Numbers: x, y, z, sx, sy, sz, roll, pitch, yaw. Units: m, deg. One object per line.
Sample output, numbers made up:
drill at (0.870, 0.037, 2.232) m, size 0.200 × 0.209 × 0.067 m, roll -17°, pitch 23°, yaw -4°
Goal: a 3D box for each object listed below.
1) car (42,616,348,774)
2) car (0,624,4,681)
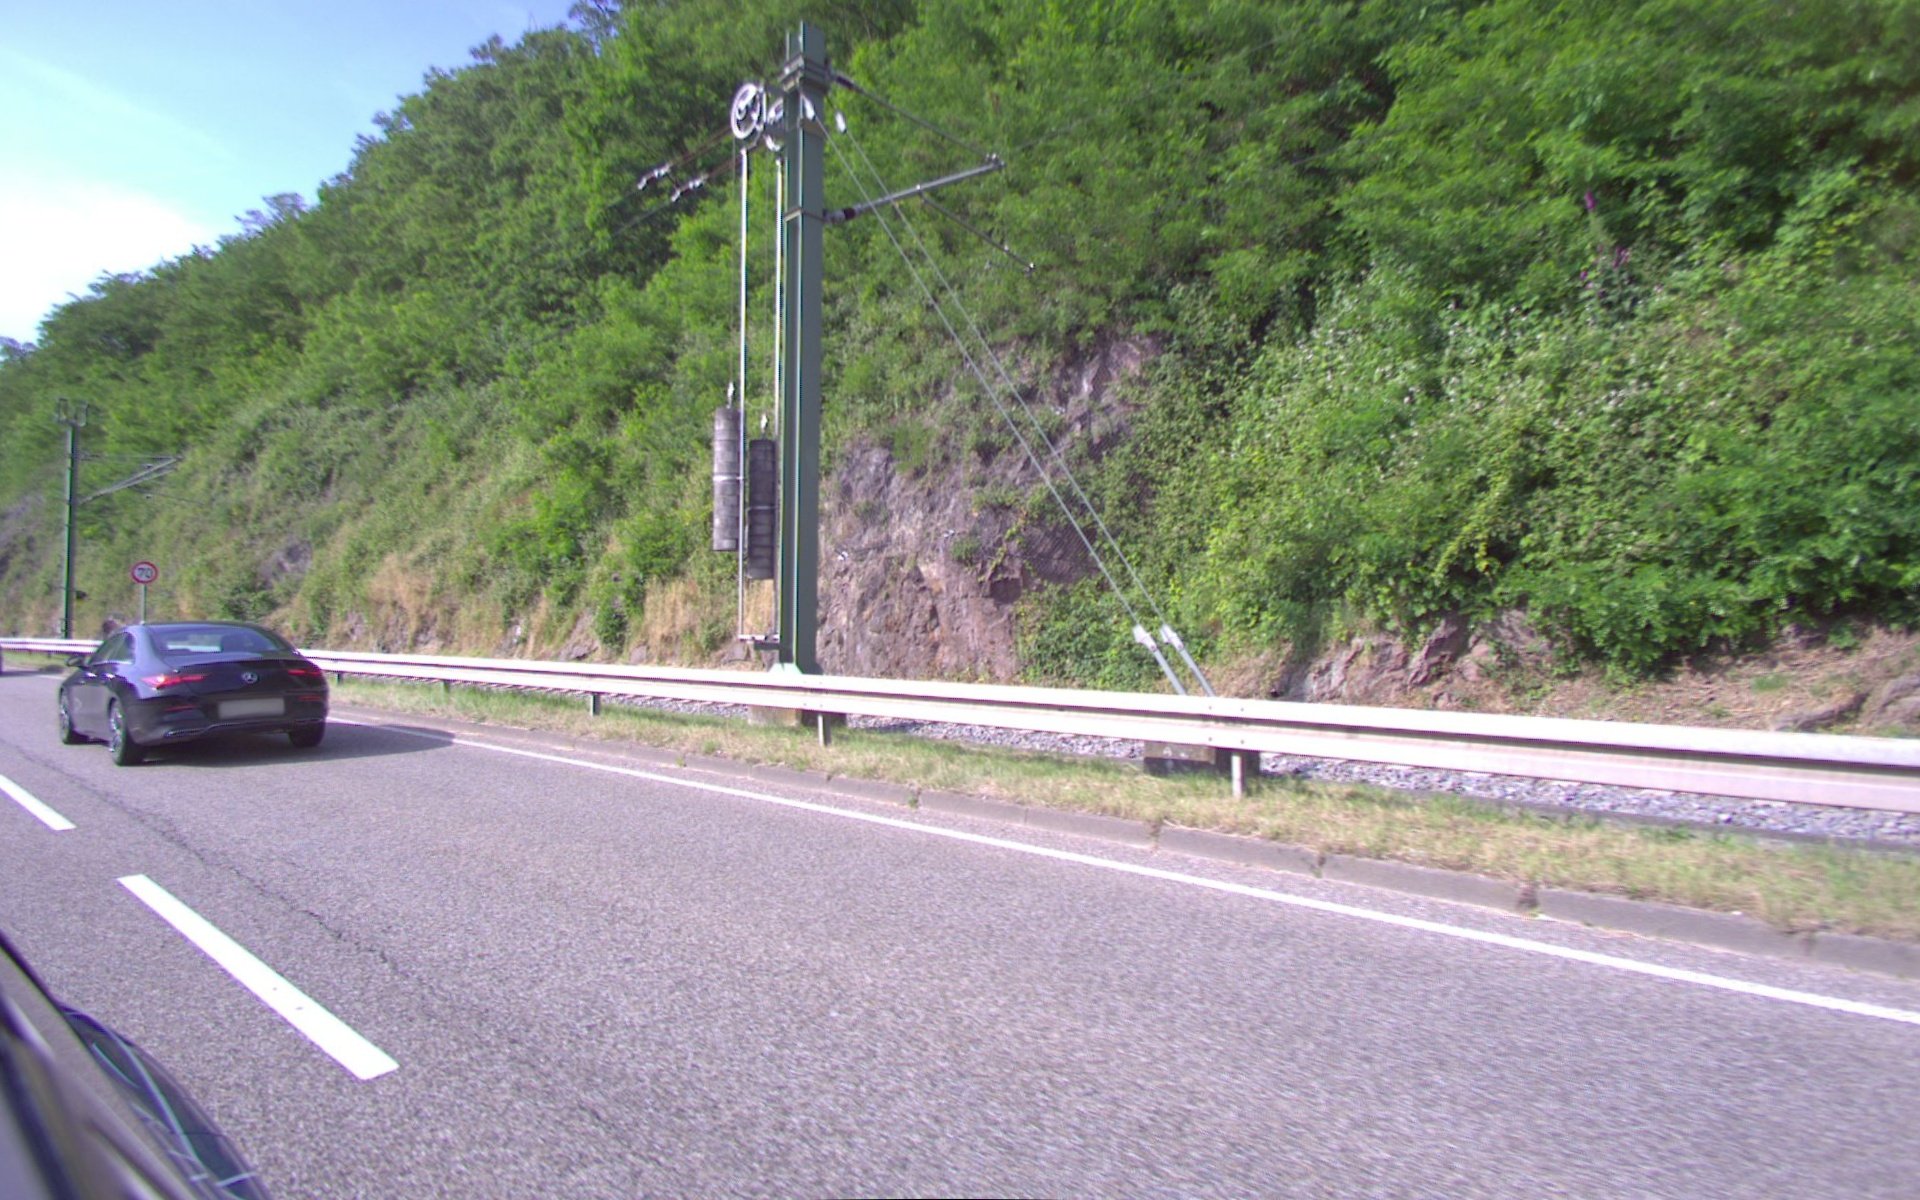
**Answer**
car at (-8.707, 0.926, 11.360) m, size 4.473 × 1.412 × 1.828 m, roll -2°, pitch -1°, yaw 40°
car at (-26.288, 1.363, 26.149) m, size 3.893 × 1.451 × 1.829 m, roll -1°, pitch -1°, yaw 39°
